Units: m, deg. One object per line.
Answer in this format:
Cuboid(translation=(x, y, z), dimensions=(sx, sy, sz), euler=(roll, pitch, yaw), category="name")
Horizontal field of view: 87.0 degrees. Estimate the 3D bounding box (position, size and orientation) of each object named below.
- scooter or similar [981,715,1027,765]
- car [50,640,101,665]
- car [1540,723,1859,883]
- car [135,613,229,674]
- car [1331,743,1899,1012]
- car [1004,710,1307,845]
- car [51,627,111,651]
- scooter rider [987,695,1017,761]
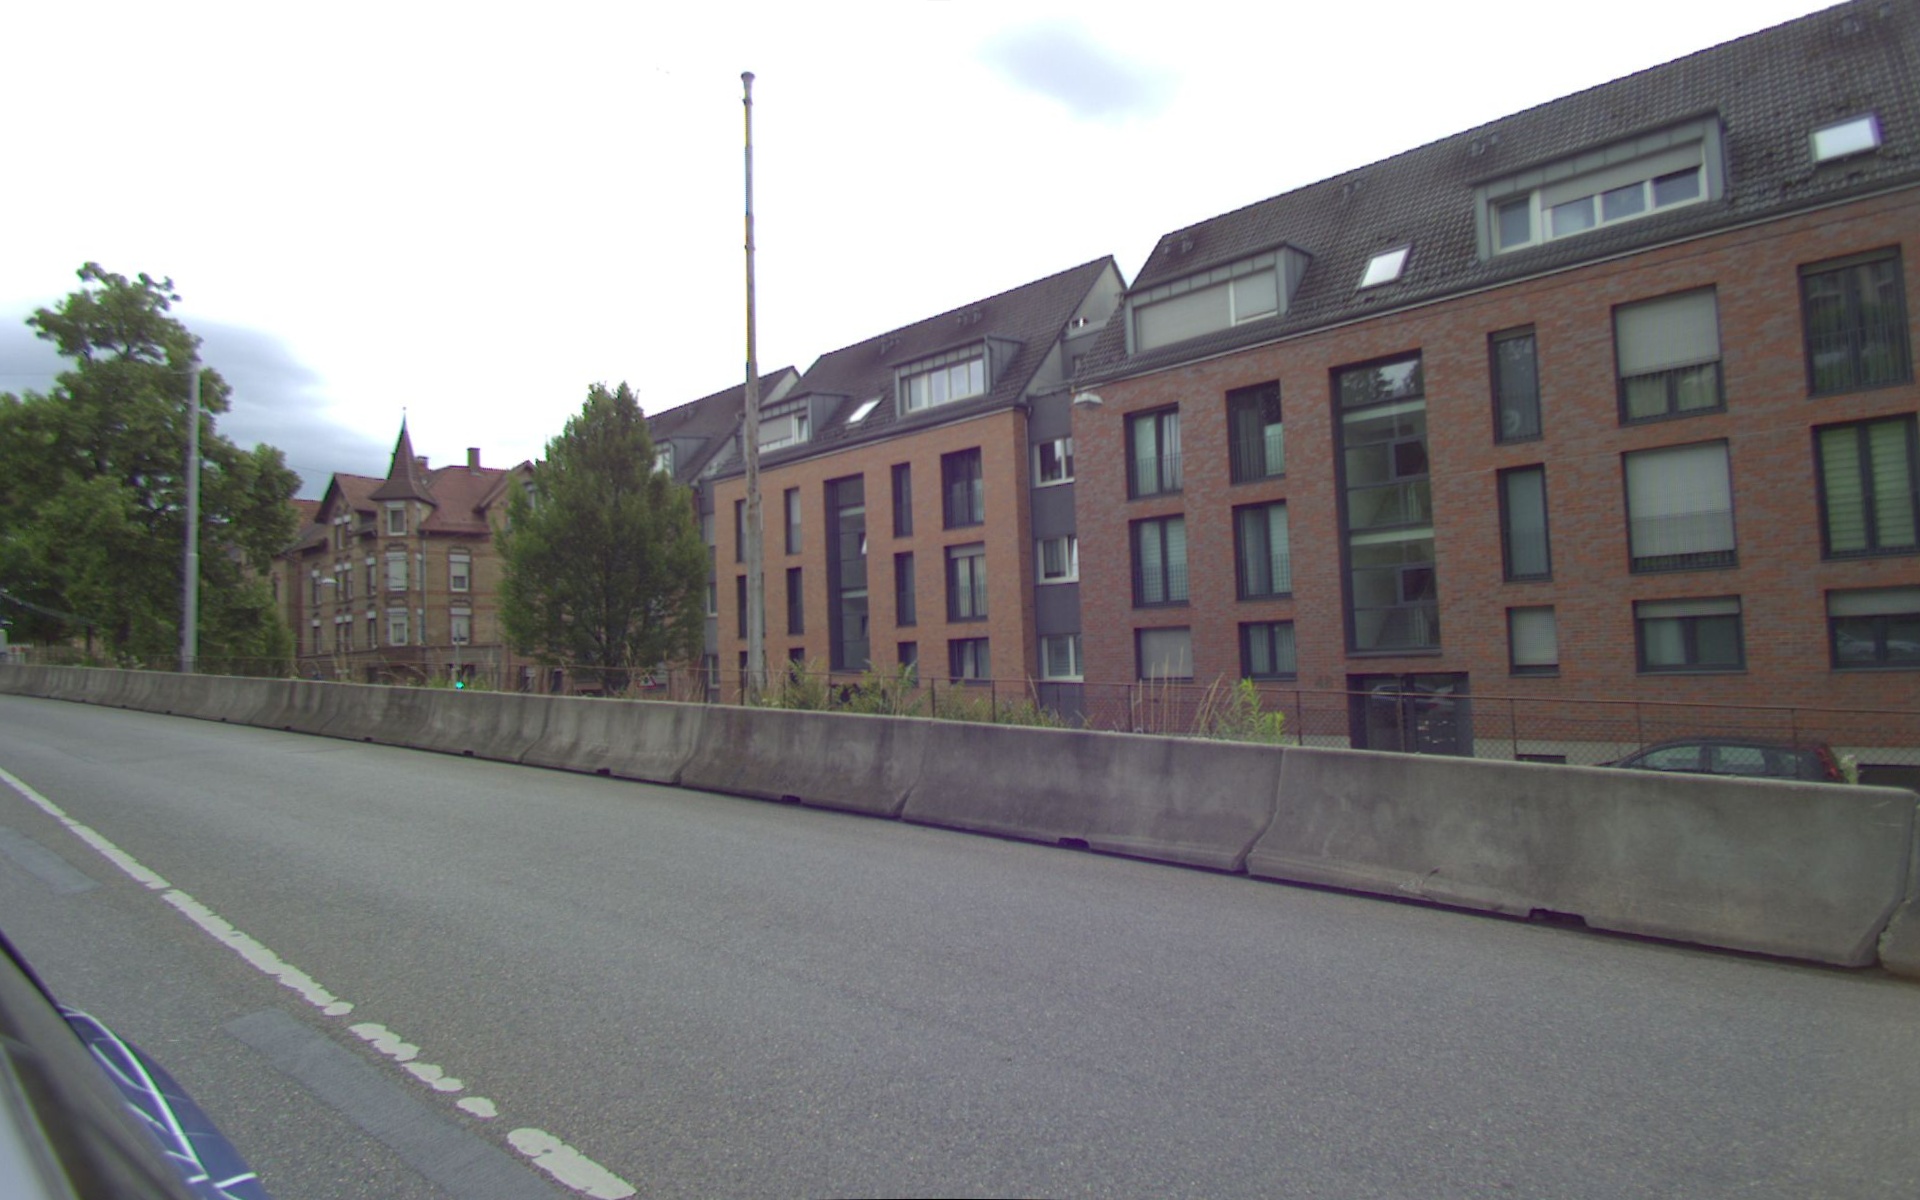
Cuboid(translation=(1.167, 3.726, 27.036), dimensions=(1.226, 1.251, 0.374), euler=(-5, -4, 42), category="scooter or similar")
Cuboid(translation=(-59.331, 3.504, 67.856), dimensions=(3.997, 1.564, 1.973), euler=(-2, -2, 40), category="car")
Cuboid(translation=(11.294, 2.982, 15.620), dimensions=(3.765, 1.815, 1.696), euler=(-2, -2, 41), category="car")
Cuboid(translation=(-36.107, 1.932, 46.898), dimensions=(5.735, 2.601, 2.531), euler=(-1, 0, 43), category="car")
Cuboid(translation=(5.622, 2.251, 9.116), dimensions=(3.995, 1.525, 1.519), euler=(-2, -2, 39), category="car")
Cuboid(translation=(3.002, 2.689, 16.132), dimensions=(4.421, 1.525, 1.809), euler=(-2, -2, 41), category="car")
Cuboid(translation=(-50.787, 2.270, 58.469), dimensions=(3.996, 1.364, 1.973), euler=(-2, -4, 40), category="car")
Cuboid(translation=(1.120, 3.415, 27.070), dimensions=(0.577, 1.718, 0.482), euler=(-5, -4, 42), category="scooter rider")
